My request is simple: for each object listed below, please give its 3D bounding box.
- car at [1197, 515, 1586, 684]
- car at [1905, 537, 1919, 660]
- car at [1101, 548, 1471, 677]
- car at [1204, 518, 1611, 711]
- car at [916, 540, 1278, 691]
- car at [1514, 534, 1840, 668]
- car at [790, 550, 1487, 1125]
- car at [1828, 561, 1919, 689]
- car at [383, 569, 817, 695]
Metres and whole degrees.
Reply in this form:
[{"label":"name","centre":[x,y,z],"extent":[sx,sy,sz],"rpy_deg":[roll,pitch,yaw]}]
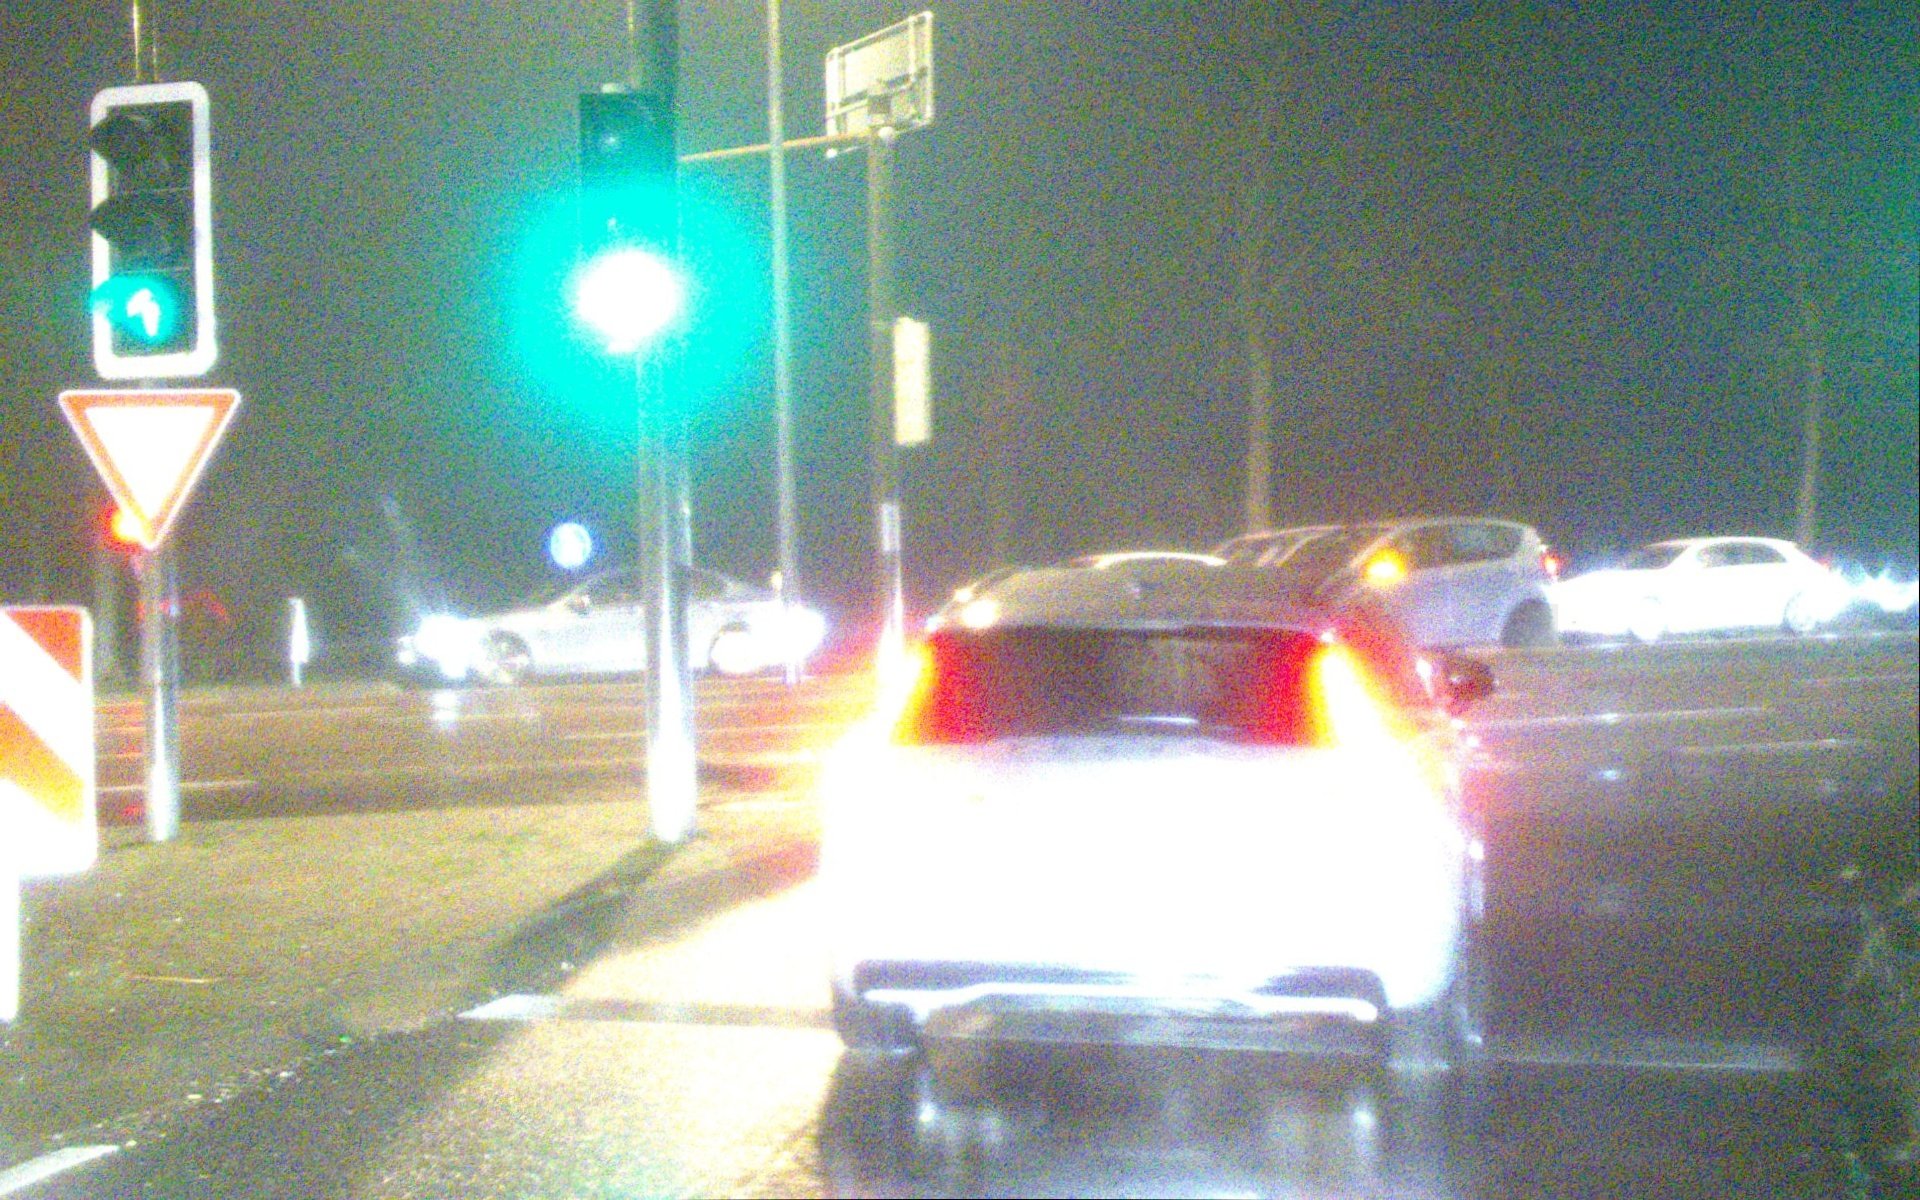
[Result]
[{"label":"car","centre":[4.752,-0.037,37.836],"extent":[3.888,1.719,1.766],"rpy_deg":[-2,1,-25]},{"label":"car","centre":[14.935,-0.016,46.513],"extent":[3.963,1.660,1.804],"rpy_deg":[0,0,-27]},{"label":"car","centre":[3.876,0.148,40.827],"extent":[4.043,1.482,1.718],"rpy_deg":[0,0,-23]},{"label":"car","centre":[6.568,0.213,50.376],"extent":[5.589,2.701,2.257],"rpy_deg":[0,0,-26]},{"label":"car","centre":[1.749,0.199,43.614],"extent":[4.270,1.842,1.766],"rpy_deg":[0,0,-27]},{"label":"car","centre":[9.984,0.017,47.832],"extent":[4.236,1.793,1.804],"rpy_deg":[0,0,-27]},{"label":"car","centre":[0.775,0.582,11.115],"extent":[1.797,1.447,4.267],"rpy_deg":[0,1,9]},{"label":"car","centre":[15.067,0.367,51.003],"extent":[4.110,1.842,1.766],"rpy_deg":[0,0,-27]},{"label":"car","centre":[-4.235,0.367,40.637],"extent":[4.786,1.422,1.766],"rpy_deg":[0,0,-26]}]
